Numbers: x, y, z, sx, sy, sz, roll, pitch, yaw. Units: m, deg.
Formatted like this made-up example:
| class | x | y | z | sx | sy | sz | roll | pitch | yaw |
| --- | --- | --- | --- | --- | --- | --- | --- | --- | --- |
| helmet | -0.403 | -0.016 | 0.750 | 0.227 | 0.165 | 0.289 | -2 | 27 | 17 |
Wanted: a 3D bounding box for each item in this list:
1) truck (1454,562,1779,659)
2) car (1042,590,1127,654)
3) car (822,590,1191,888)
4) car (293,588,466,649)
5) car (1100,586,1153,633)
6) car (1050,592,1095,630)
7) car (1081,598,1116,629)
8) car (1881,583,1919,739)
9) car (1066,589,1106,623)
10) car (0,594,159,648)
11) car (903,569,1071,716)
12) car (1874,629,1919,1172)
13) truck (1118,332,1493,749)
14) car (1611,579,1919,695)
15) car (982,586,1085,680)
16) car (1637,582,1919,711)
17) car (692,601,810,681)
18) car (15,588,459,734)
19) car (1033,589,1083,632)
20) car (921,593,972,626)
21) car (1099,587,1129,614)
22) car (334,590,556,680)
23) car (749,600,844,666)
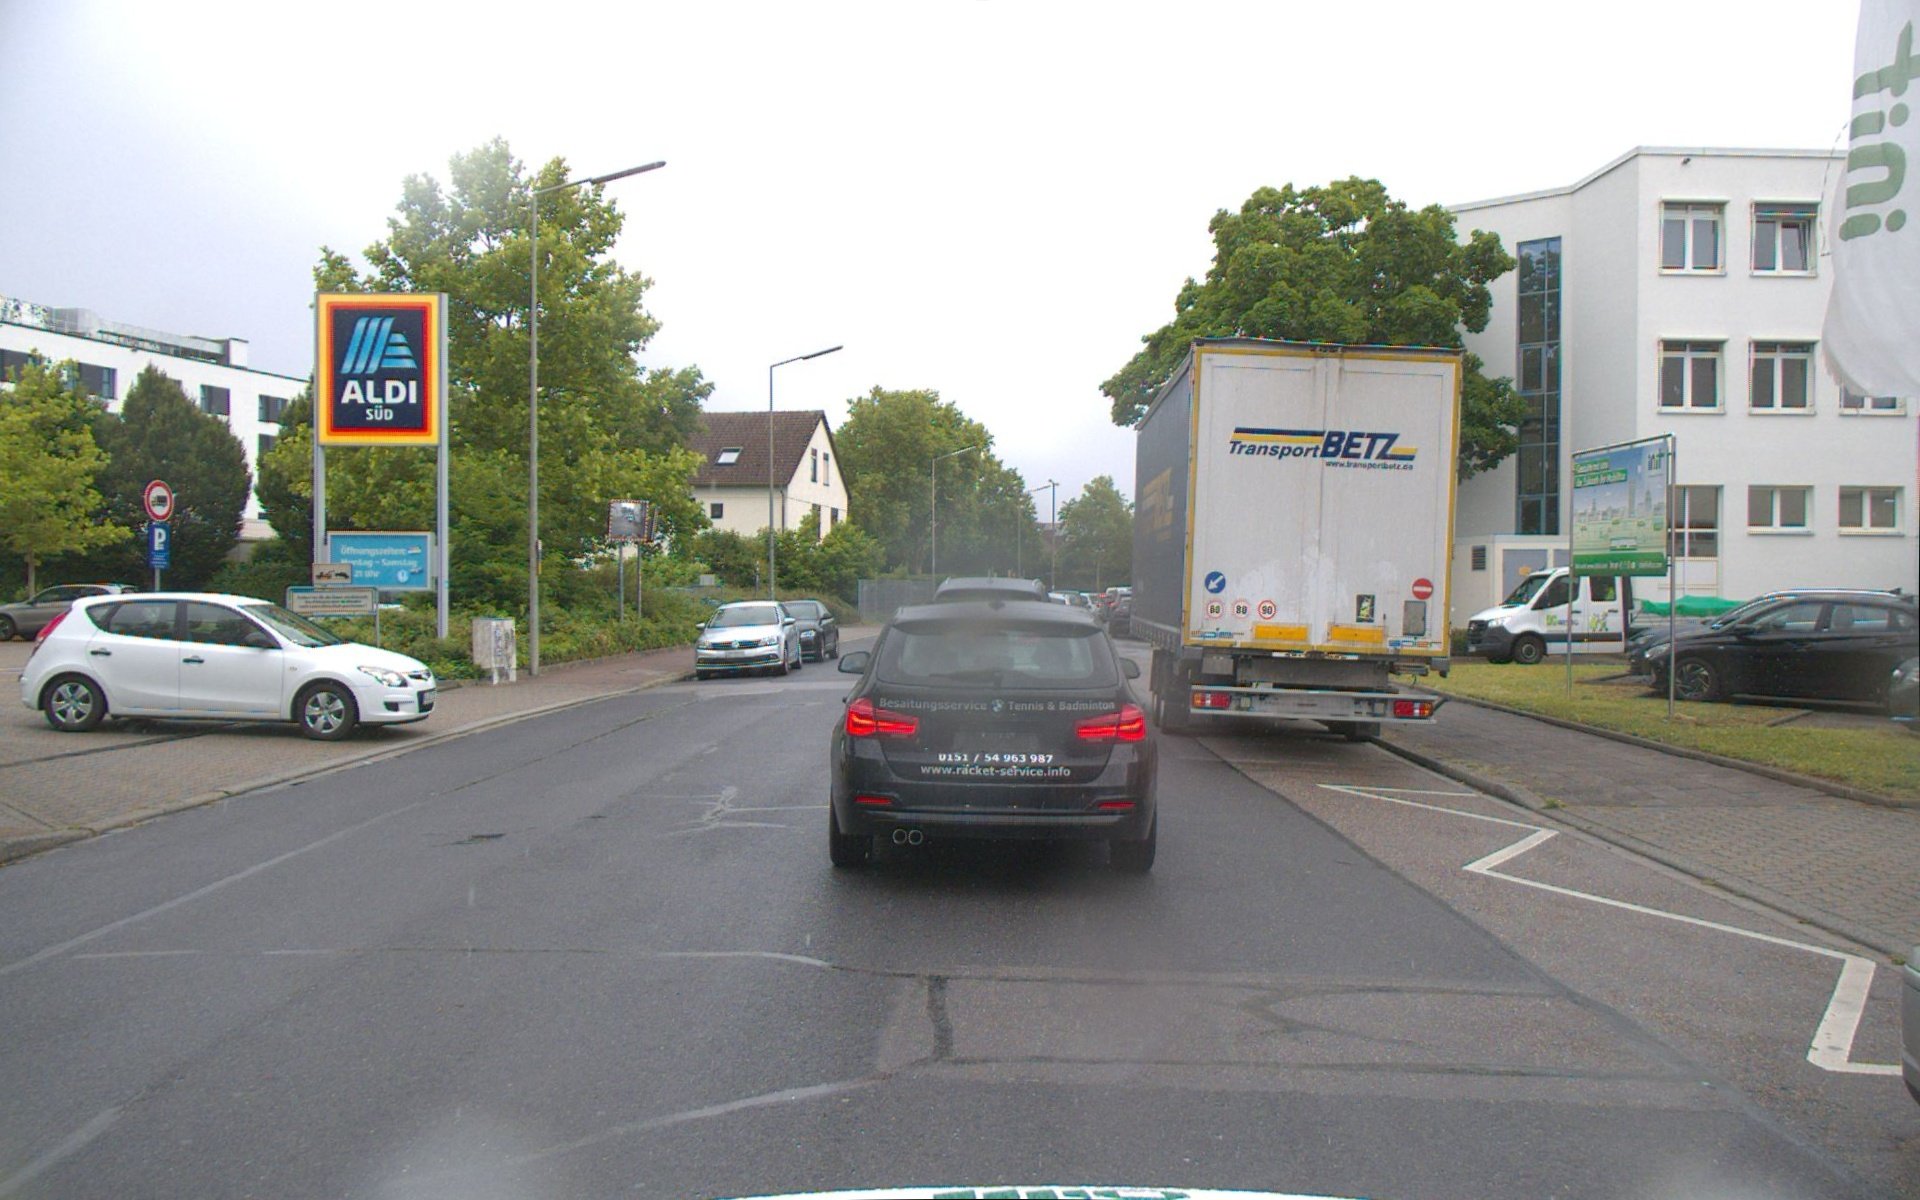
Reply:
| class | x | y | z | sx | sy | sz | roll | pitch | yaw |
| --- | --- | --- | --- | --- | --- | --- | --- | --- | --- |
| truck | 15.228 | 0.235 | 38.639 | 6.781 | 2.177 | 2.094 | 0 | 0 | 0 |
| car | 3.498 | 0.626 | 47.059 | 1.953 | 1.713 | 3.998 | 1 | 0 | -2 |
| car | 0.120 | 0.681 | 9.985 | 1.768 | 1.419 | 3.997 | 1 | 0 | -3 |
| car | -15.360 | 0.475 | 43.934 | 3.905 | 1.567 | 1.910 | 0 | 0 | -1 |
| car | 5.938 | 0.328 | 59.172 | 1.766 | 1.614 | 4.002 | 1 | 0 | 4 |
| car | 4.961 | 0.479 | 72.358 | 1.766 | 1.614 | 4.003 | 1 | 0 | 6 |
| car | 7.680 | 0.740 | 91.469 | 1.766 | 1.614 | 4.003 | 1 | 0 | 6 |
| car | 11.267 | 0.582 | 15.345 | 4.584 | 1.493 | 1.784 | 0 | 0 | 37 |
| car | 6.253 | 0.295 | 81.764 | 1.766 | 1.614 | 4.003 | 1 | 0 | 6 |
| car | -25.912 | 0.599 | 48.477 | 3.905 | 1.526 | 2.000 | 0 | 0 | 0 |
| car | 0.233 | 0.477 | 20.433 | 1.768 | 1.614 | 3.997 | 1 | 0 | -3 |
| car | 3.537 | 0.824 | 2.554 | 1.761 | 1.466 | 4.343 | 0 | 0 | -2 |
| truck | 3.507 | -0.553 | 18.891 | 2.684 | 3.674 | 7.751 | 2 | 0 | 1 |
| car | 11.942 | 0.483 | 24.351 | 4.073 | 1.440 | 1.682 | 2 | 3 | 39 |
| car | 1.426 | 0.585 | 30.849 | 1.766 | 1.614 | 4.002 | 1 | 0 | 4 |
| car | 11.171 | 0.572 | 21.921 | 3.710 | 1.420 | 1.719 | 4 | 3 | 39 |
| car | -4.090 | 0.763 | 32.957 | 1.670 | 1.391 | 4.601 | -2 | 0 | 1 |
| car | -7.817 | 0.643 | 18.192 | 4.108 | 1.485 | 1.711 | 1 | 0 | -4 |
| car | 3.929 | 0.416 | 65.977 | 1.766 | 1.614 | 4.003 | 1 | 0 | 6 |
| car | -0.602 | 0.400 | 76.080 | 1.669 | 1.391 | 3.841 | -2 | 0 | 9 |
| car | 9.329 | 0.020 | 100.185 | 1.766 | 1.614 | 4.003 | 0 | 0 | 6 |
| car | -9.425 | 0.624 | 30.436 | 3.496 | 1.485 | 1.712 | 2 | 0 | 0 |
| car | -3.787 | 0.739 | 38.825 | 1.670 | 1.391 | 3.839 | -2 | 0 | 2 |
